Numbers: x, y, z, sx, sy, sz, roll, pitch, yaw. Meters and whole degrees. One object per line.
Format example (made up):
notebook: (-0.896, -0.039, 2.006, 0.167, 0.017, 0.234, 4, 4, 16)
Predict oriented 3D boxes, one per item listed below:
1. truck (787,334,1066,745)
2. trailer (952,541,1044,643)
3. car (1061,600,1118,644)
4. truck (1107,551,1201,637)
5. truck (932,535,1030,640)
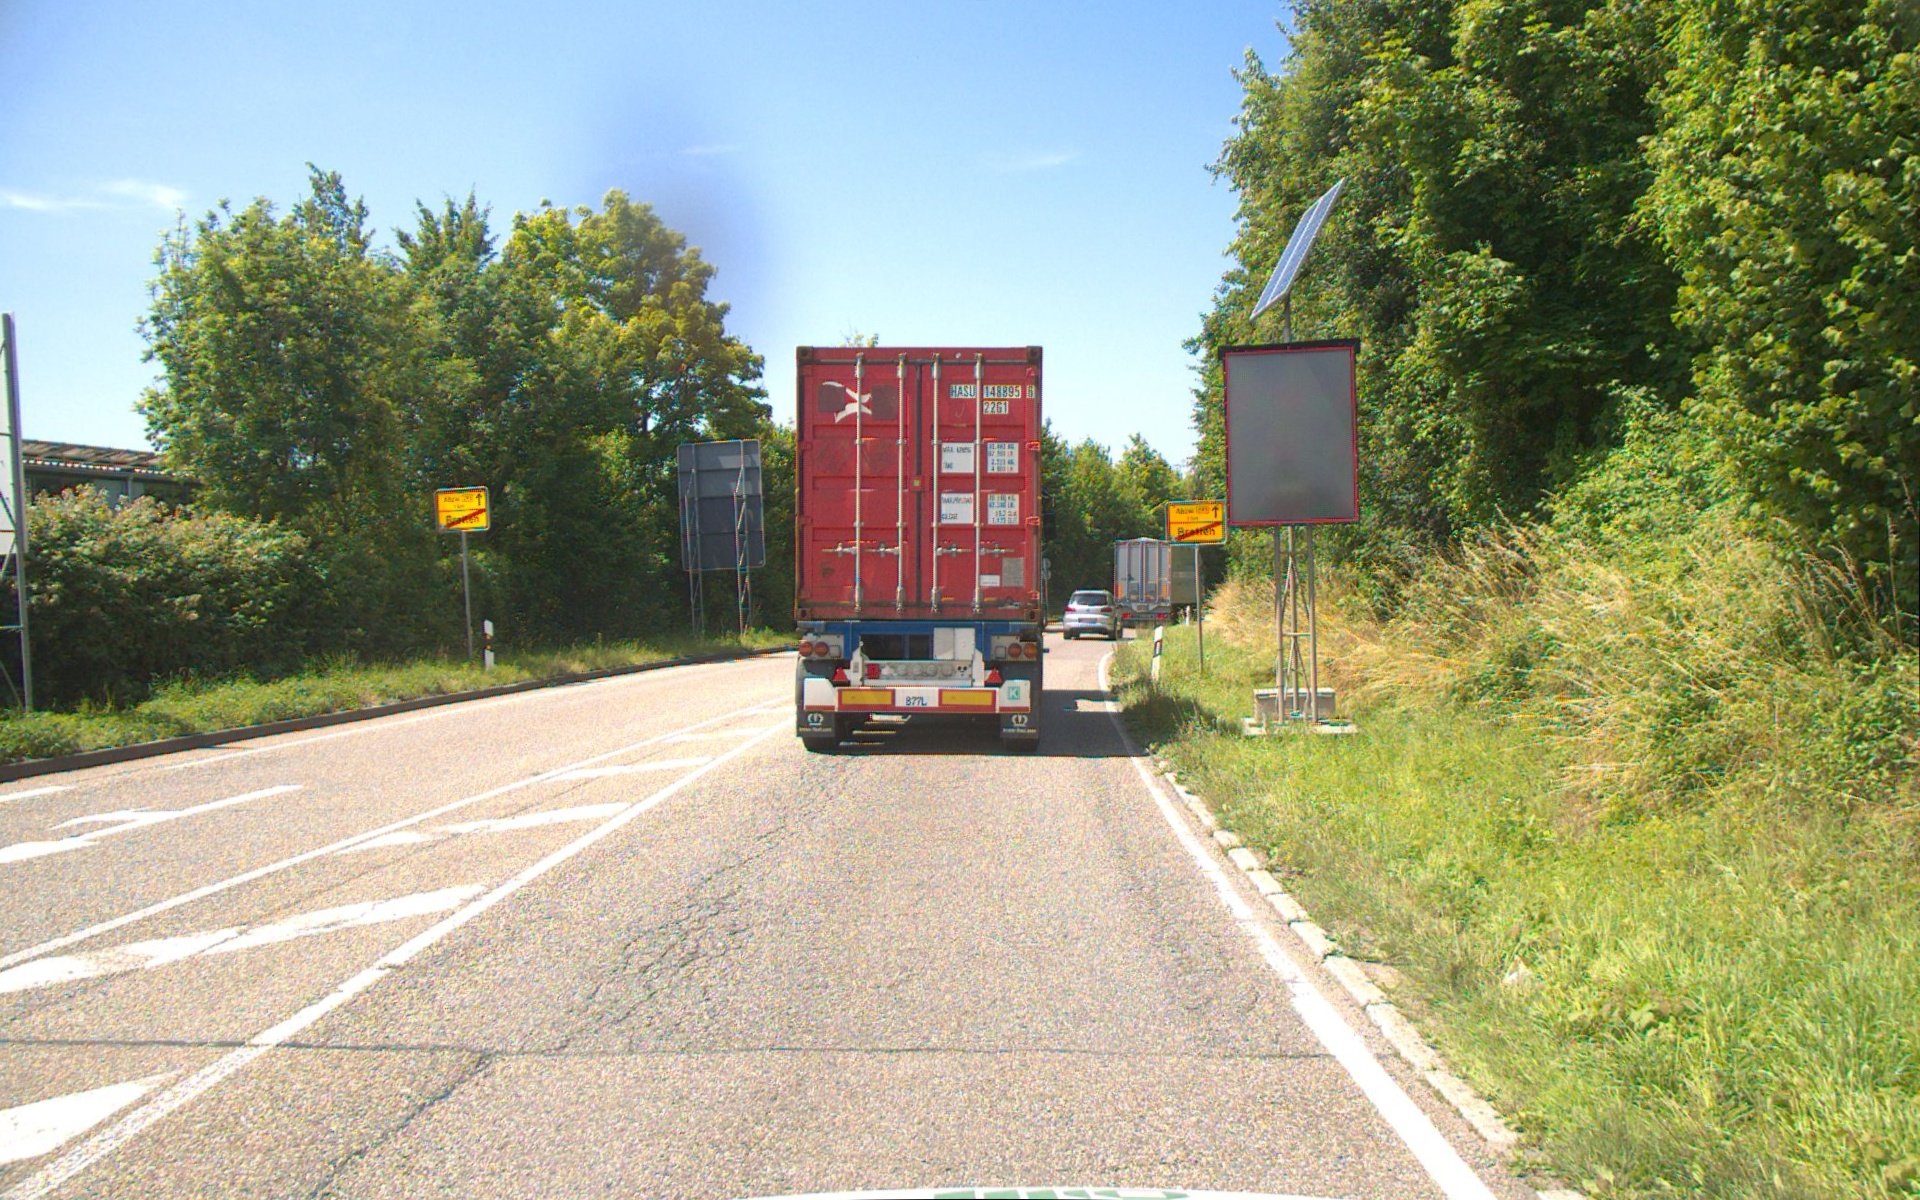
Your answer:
truck: (0.108, -0.523, 22.419, 2.592, 3.873, 13.365, 1, -1, 4)
trailer: (1.691, -0.303, 67.892, 2.522, 3.886, 8.922, 1, 0, 9)
car: (4.541, 0.743, 57.698, 1.793, 1.458, 4.003, 0, 0, 7)
truck: (9.474, -0.234, 79.269, 2.859, 3.782, 13.369, 1, 0, 14)
truck: (0.915, -0.424, 63.242, 2.524, 3.744, 7.882, 1, 0, 9)
